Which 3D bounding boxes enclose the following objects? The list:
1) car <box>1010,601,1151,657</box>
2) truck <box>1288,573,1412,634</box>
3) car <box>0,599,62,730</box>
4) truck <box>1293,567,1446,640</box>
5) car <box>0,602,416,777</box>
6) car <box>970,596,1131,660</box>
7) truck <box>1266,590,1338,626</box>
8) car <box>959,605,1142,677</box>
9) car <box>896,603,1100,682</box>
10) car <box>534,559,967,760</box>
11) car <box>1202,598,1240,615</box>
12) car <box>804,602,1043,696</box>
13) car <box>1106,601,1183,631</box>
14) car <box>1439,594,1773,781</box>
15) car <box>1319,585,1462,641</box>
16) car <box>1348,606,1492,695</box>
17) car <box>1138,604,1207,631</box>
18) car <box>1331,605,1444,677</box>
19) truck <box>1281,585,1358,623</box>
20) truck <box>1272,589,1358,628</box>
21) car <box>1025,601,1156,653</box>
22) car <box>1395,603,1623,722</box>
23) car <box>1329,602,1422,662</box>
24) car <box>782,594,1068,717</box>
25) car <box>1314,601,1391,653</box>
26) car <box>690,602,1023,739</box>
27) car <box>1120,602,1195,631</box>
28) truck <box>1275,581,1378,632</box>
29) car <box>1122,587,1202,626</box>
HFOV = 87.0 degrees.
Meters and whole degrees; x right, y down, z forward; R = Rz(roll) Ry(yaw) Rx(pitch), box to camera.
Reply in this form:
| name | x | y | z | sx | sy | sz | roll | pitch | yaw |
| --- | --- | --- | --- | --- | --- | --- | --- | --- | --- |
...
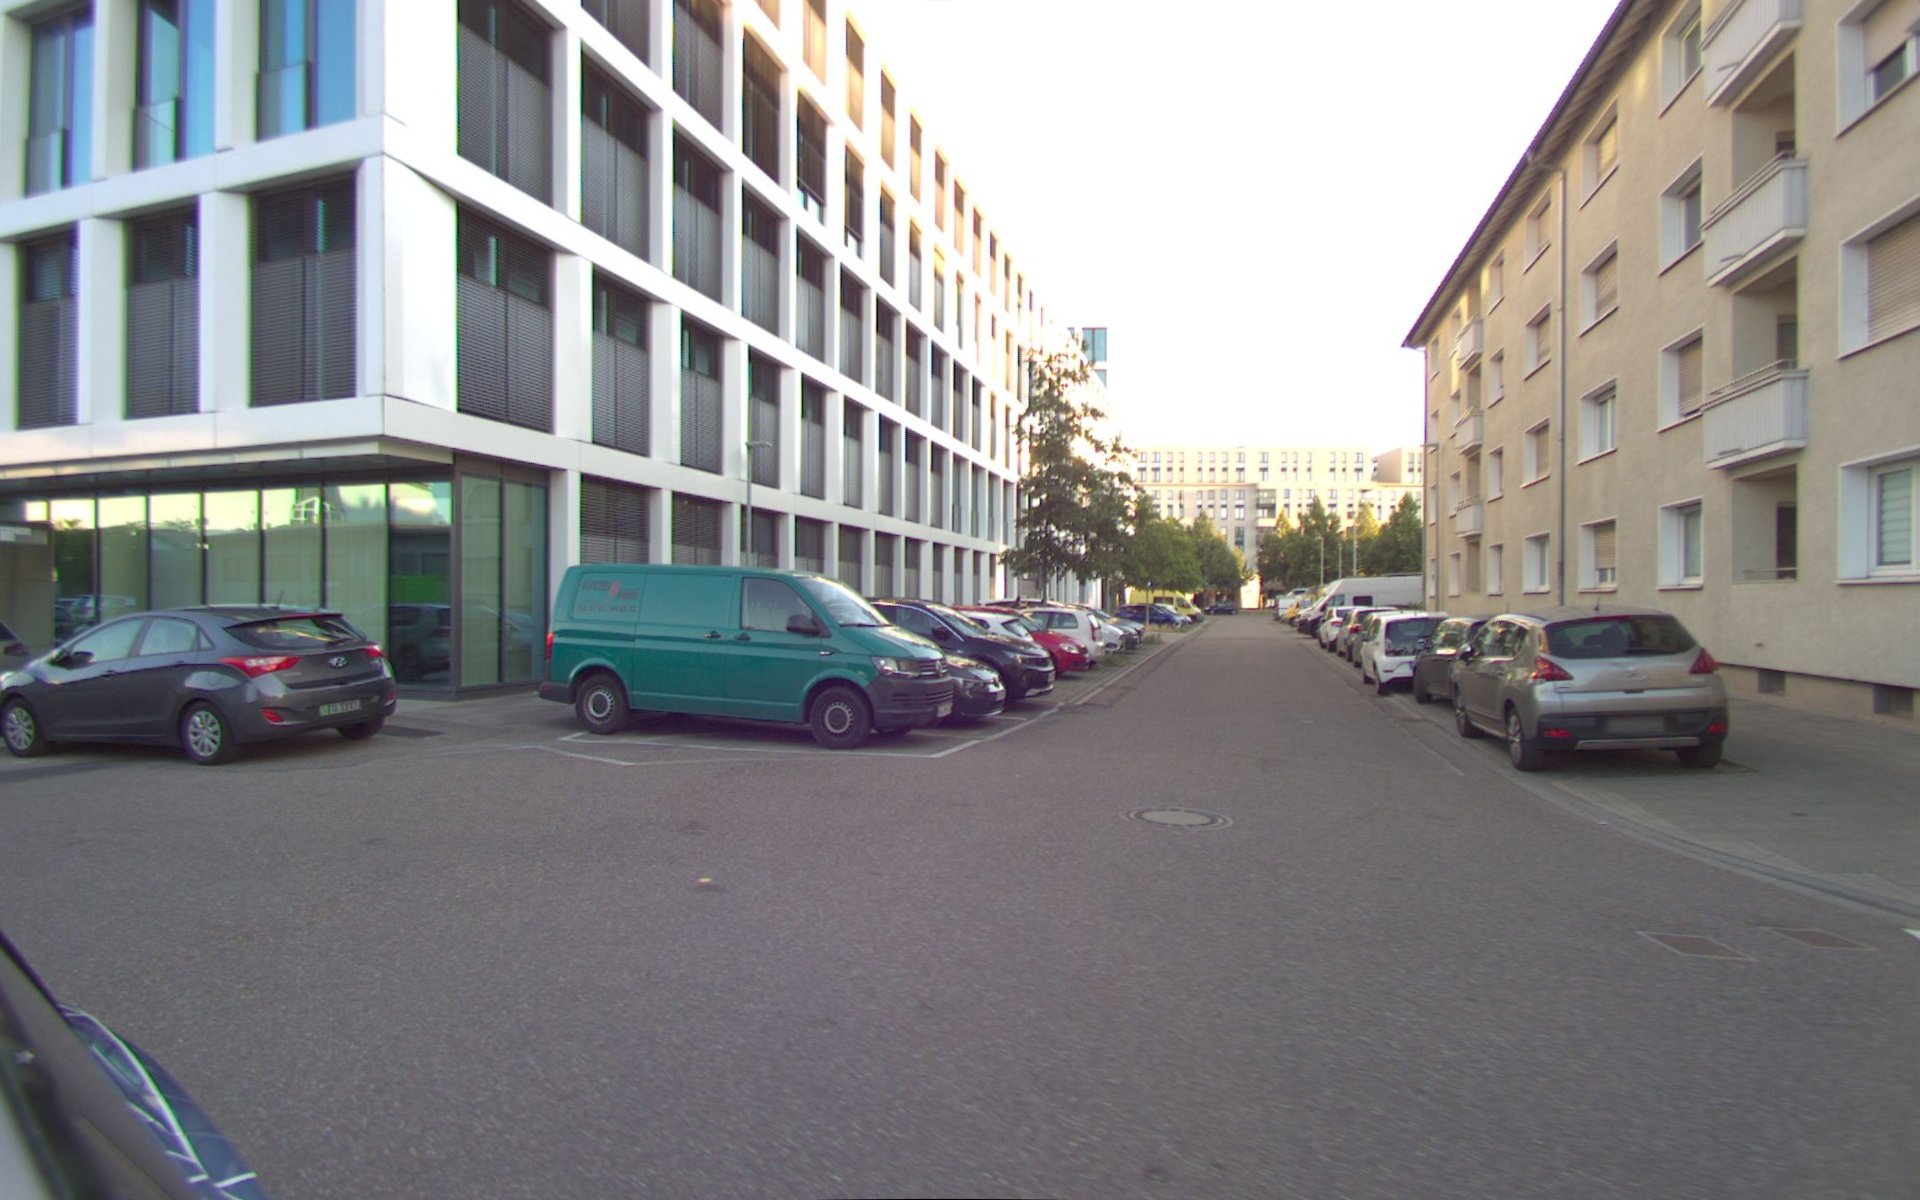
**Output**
| name | x | y | z | sx | sy | sz | roll | pitch | yaw |
| --- | --- | --- | --- | --- | --- | --- | --- | --- | --- |
| car | 3.854 | 0.881 | 32.149 | 4.188 | 1.521 | 1.725 | 2 | 1 | 17 |
| truck | 21.417 | 0.231 | 55.889 | 5.946 | 2.867 | 2.327 | -4 | -2 | 16 |
| car | -13.196 | 0.776 | 12.041 | 4.145 | 1.489 | 1.708 | 0 | 3 | 15 |
| truck | 18.220 | 0.188 | 45.411 | 5.946 | 2.743 | 2.327 | -4 | -2 | 16 |
| car | -8.027 | 0.797 | 10.433 | 4.294 | 1.490 | 1.776 | 0 | 1 | 17 |
| car | 2.670 | 0.786 | 29.760 | 4.427 | 1.624 | 1.725 | 2 | 1 | 17 |
| truck | 31.176 | 0.768 | 92.421 | 5.946 | 2.867 | 2.327 | -4 | -2 | 16 |
| car | 2.216 | 0.947 | 24.614 | 4.163 | 1.467 | 1.725 | 2 | 1 | 17 |
| car | 0.860 | 0.890 | 22.359 | 4.163 | 1.467 | 1.725 | 2 | 1 | 17 |
| car | -2.403 | 0.580 | 11.783 | 4.648 | 1.994 | 1.794 | 1 | 0 | 17 |
| car | 44.599 | 1.065 | 173.320 | 5.924 | 2.867 | 2.336 | 0 | 0 | 5 |
| car | -0.663 | 0.854 | 19.110 | 4.163 | 1.467 | 1.725 | 2 | 1 | 17 |
| car | 10.610 | 0.903 | 58.223 | 4.188 | 1.521 | 1.725 | 2 | 1 | 17 |
| car | 6.777 | 0.835 | 11.190 | 1.863 | 1.630 | 4.000 | -4 | -1 | 15 |
| car | 17.454 | 0.544 | 41.368 | 4.956 | 1.928 | 2.327 | -4 | -2 | 16 |
| car | 8.969 | 0.926 | 20.092 | 1.863 | 1.495 | 3.929 | -4 | -1 | 15 |
| car | 13.665 | 1.092 | 65.080 | 4.188 | 1.521 | 1.725 | 2 | 1 | 17 |
| car | 10.232 | 0.928 | 24.506 | 1.863 | 1.495 | 3.929 | -4 | -1 | 15 |
| truck | 31.183 | 0.367 | 87.895 | 5.946 | 2.867 | 2.327 | -4 | -2 | 16 |
| truck | 27.161 | 0.656 | 77.678 | 5.946 | 2.517 | 2.327 | -4 | -2 | 16 |
| car | 4.483 | 0.884 | 34.680 | 4.188 | 1.521 | 1.725 | 2 | 1 | 17 |
| car | 8.282 | 0.882 | 15.720 | 1.861 | 1.512 | 4.006 | -4 | -1 | 11 |
| car | 11.836 | 0.869 | 29.082 | 1.863 | 1.495 | 3.929 | -4 | -1 | 15 |
| car | -0.542 | 0.818 | 16.436 | 4.294 | 1.672 | 1.725 | 2 | 1 | 17 |
| car | 12.976 | 0.862 | 33.670 | 1.863 | 1.495 | 3.929 | -4 | -1 | 15 |
| car | -1.422 | 0.892 | 14.235 | 4.294 | 1.561 | 1.775 | 2 | 1 | 17 |
| car | 11.871 | 0.981 | 60.794 | 4.188 | 1.521 | 1.725 | 2 | 1 | 17 |
| truck | 23.948 | 0.459 | 66.366 | 5.946 | 2.867 | 2.327 | -4 | -2 | 16 |
| car | 14.509 | 0.449 | 72.579 | 5.463 | 2.554 | 1.727 | 2 | 1 | 14 |
